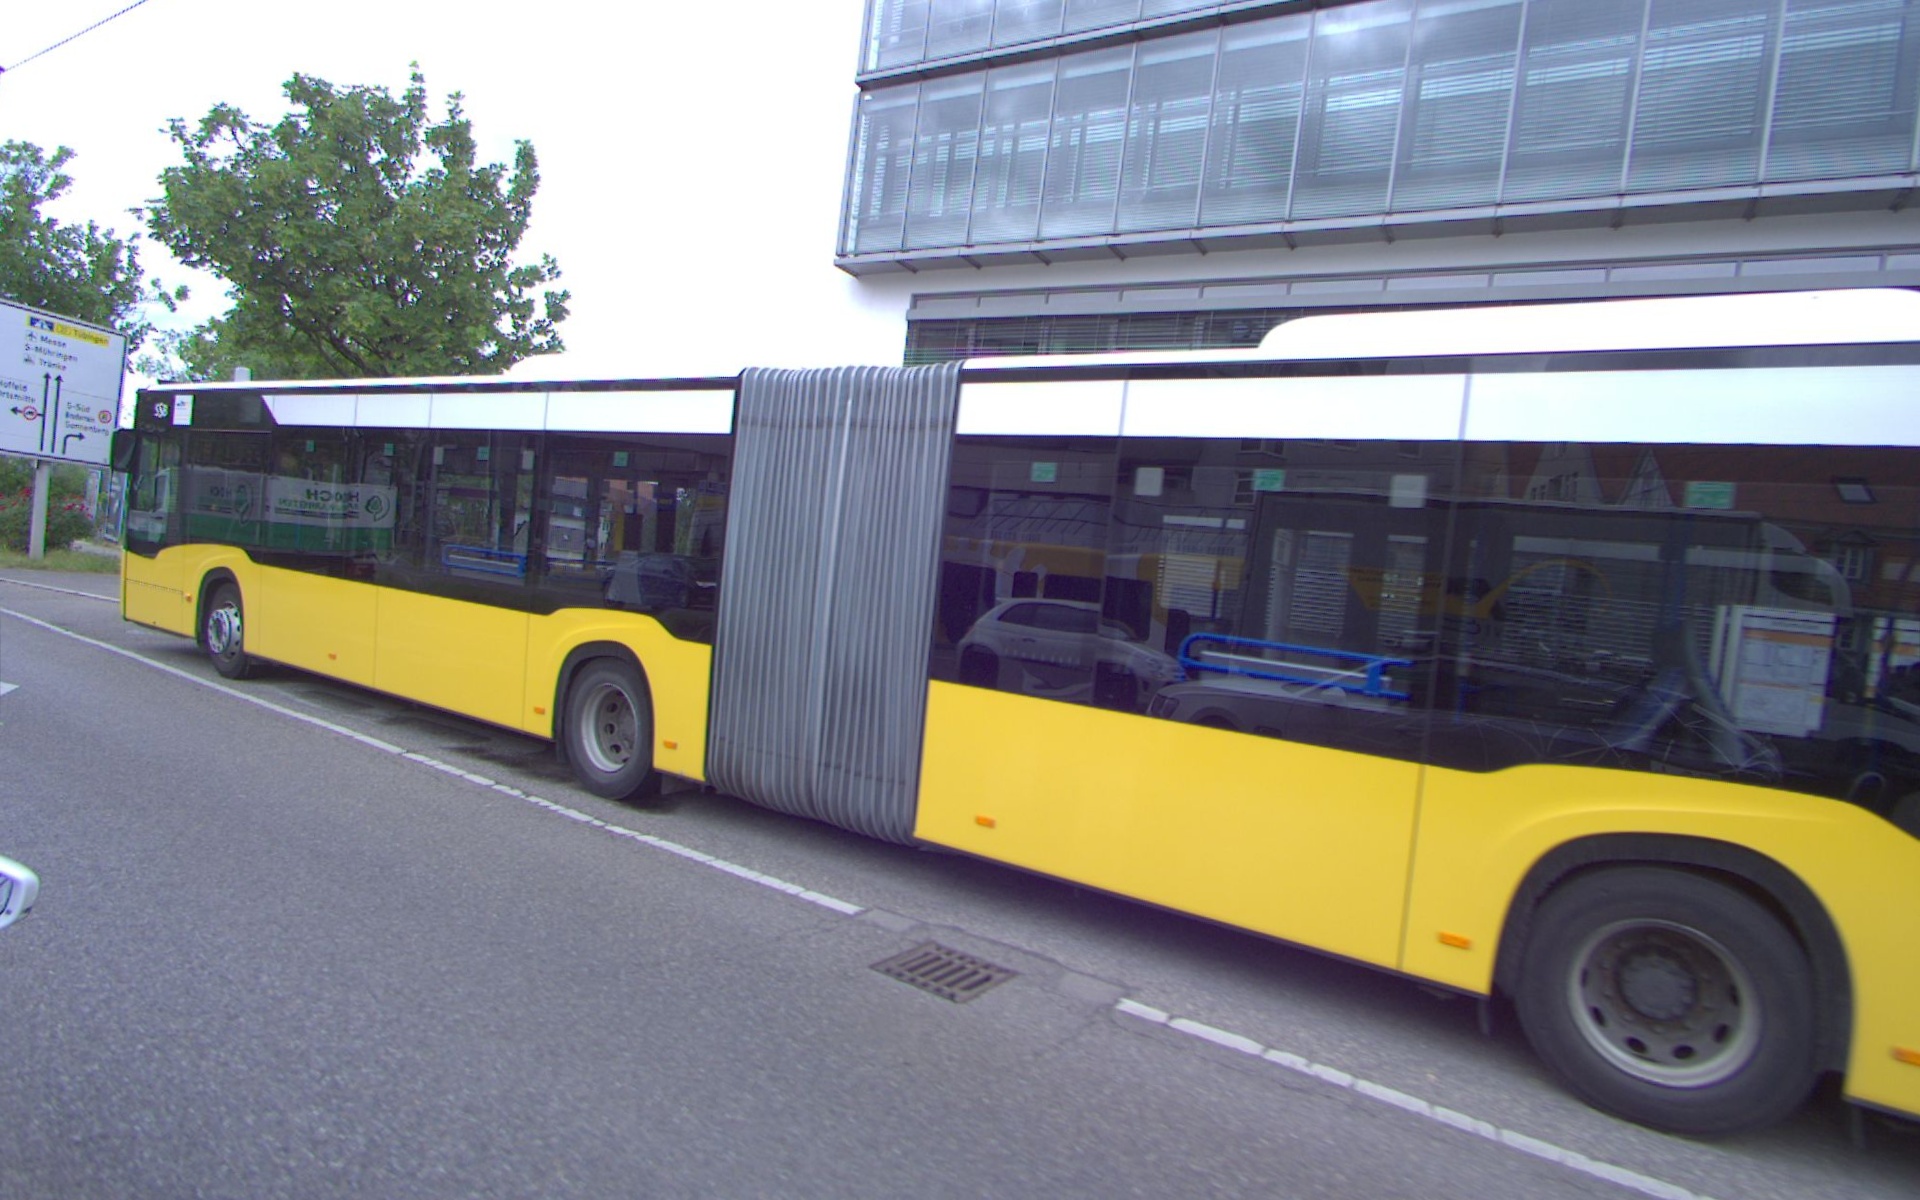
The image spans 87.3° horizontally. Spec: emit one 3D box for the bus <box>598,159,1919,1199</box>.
[{"bbox_3d":[2.481,0.186,5.269,9.184,3.277,3.038,6,1,32],"label":"bus"}]

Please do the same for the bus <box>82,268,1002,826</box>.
[{"bbox_3d":[-4.678,-0.578,9.774,9.706,3.277,2.988,6,-3,33],"label":"bus"}]
